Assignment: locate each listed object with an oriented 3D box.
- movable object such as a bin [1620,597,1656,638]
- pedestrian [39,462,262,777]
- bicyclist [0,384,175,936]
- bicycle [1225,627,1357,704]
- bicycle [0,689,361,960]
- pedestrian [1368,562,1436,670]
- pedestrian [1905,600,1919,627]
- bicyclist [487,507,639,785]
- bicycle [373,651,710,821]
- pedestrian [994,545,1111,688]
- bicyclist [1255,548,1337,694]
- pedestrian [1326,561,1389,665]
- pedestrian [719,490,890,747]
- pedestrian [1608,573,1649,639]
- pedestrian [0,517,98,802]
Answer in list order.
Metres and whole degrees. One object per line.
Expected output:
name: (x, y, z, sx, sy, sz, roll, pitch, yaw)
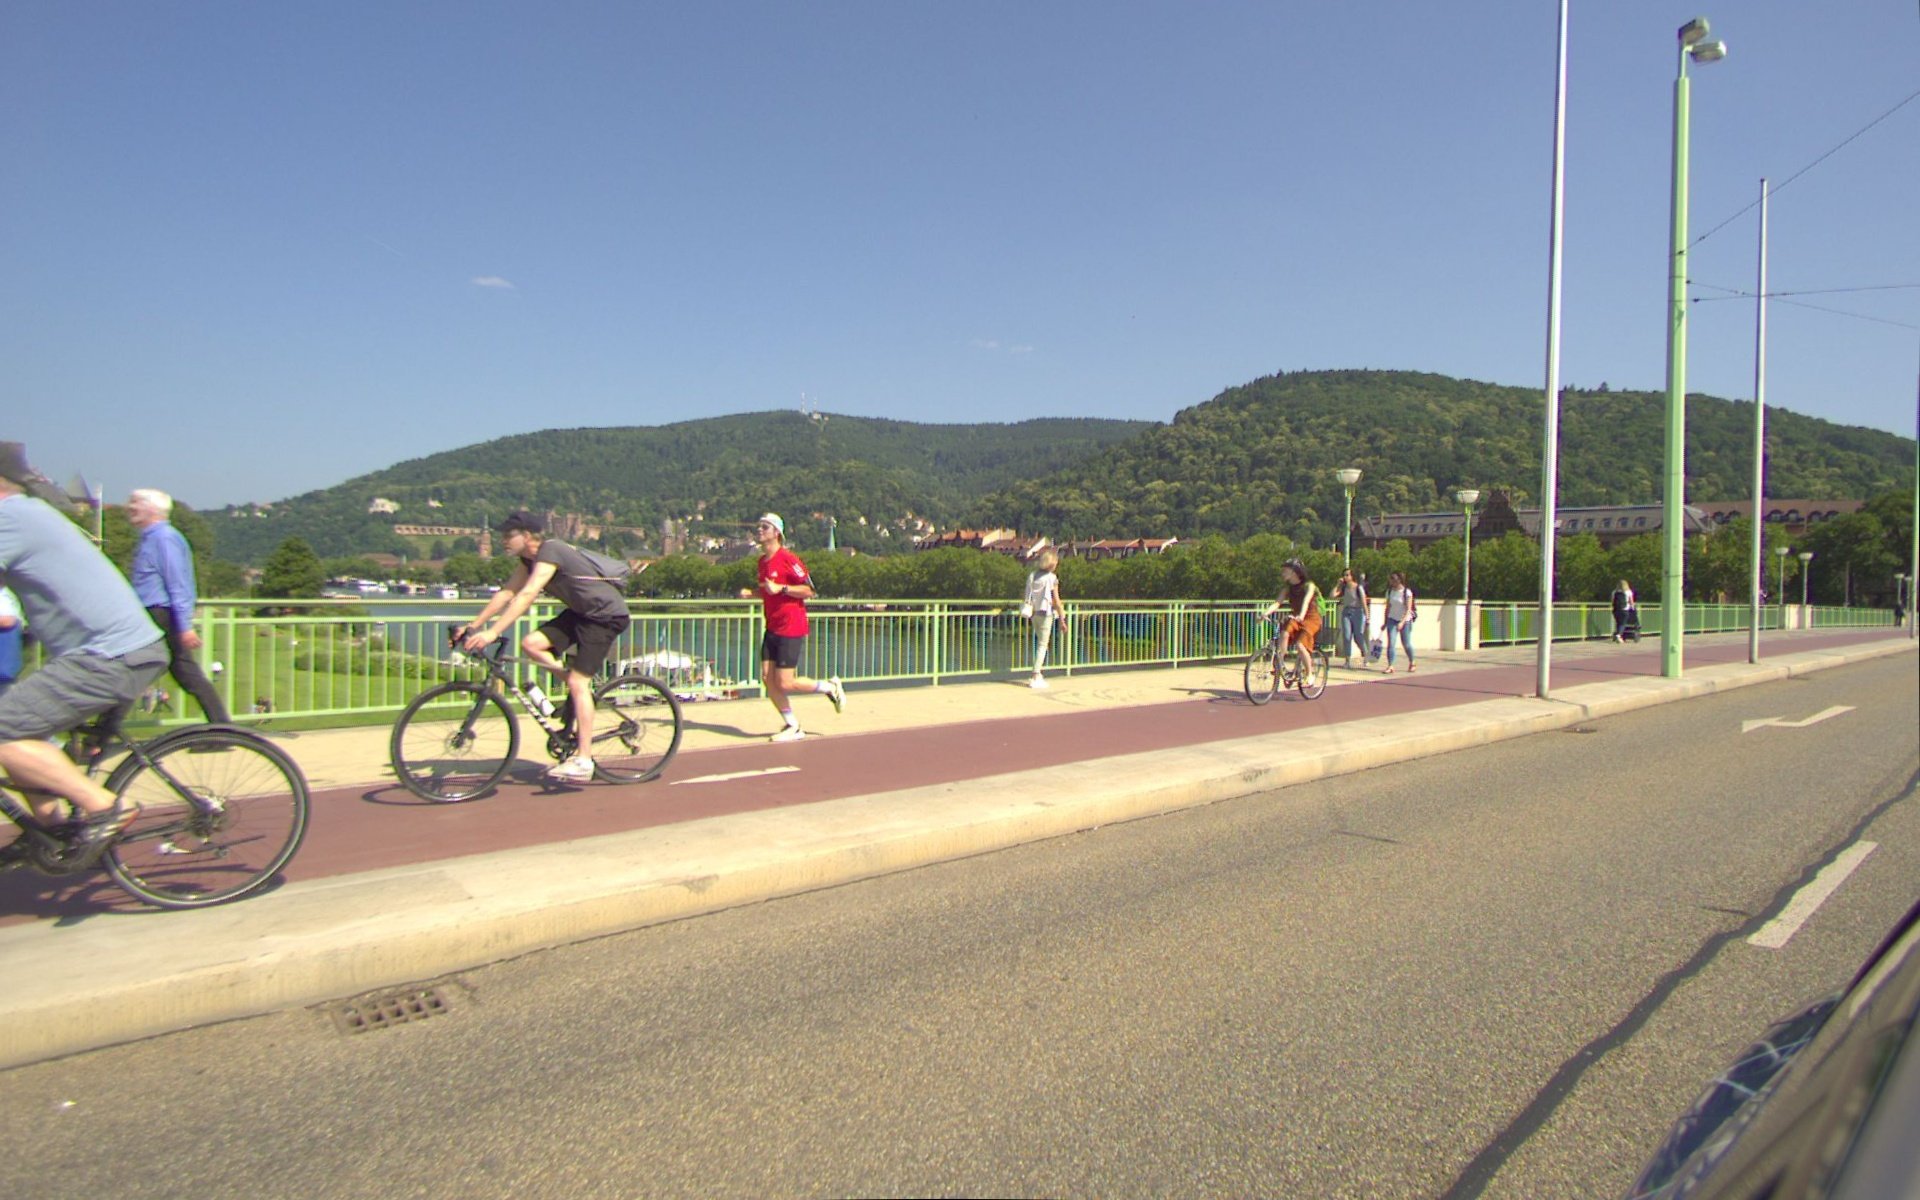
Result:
movable object such as a bin: (18.641, 0.472, 27.826, 0.917, 1.104, 0.583, 0, 2, -41)
pedestrian: (-5.479, 0.101, 6.881, 1.117, 1.921, 0.927, 0, 2, -41)
bicyclist: (-3.308, 0.193, 3.665, 0.690, 1.842, 0.587, 0, 2, -42)
bicycle: (3.931, 0.745, 11.953, 1.833, 0.775, 0.595, 0, 2, -40)
bicycle: (-3.304, 0.804, 3.700, 1.835, 0.775, 0.594, 0, 2, -43)
pedestrian: (7.099, 0.234, 16.256, 0.810, 1.679, 0.664, 0, 2, -41)
pedestrian: (60.308, 0.844, 63.758, 1.063, 1.683, 0.949, 0, 3, -41)
bicyclist: (-2.431, 0.248, 6.190, 0.690, 1.578, 0.587, 0, 2, -42)
bicycle: (-2.483, 0.757, 6.160, 1.800, 0.775, 0.594, 0, 2, -43)
pedestrian: (1.160, 0.179, 12.716, 1.063, 1.683, 0.949, 0, 2, -41)
bicyclist: (3.978, 0.227, 11.975, 0.689, 1.671, 0.606, 0, 2, -40)
pedestrian: (6.601, 0.196, 16.819, 0.733, 1.679, 0.668, 0, 2, -41)
pedestrian: (-1.281, 0.125, 8.339, 1.108, 1.948, 0.812, 0, 2, -41)
pedestrian: (18.016, 0.159, 27.283, 0.844, 1.727, 0.664, 0, 2, -41)
pedestrian: (-5.518, 0.306, 5.759, 0.917, 1.548, 0.831, 0, 2, -41)
